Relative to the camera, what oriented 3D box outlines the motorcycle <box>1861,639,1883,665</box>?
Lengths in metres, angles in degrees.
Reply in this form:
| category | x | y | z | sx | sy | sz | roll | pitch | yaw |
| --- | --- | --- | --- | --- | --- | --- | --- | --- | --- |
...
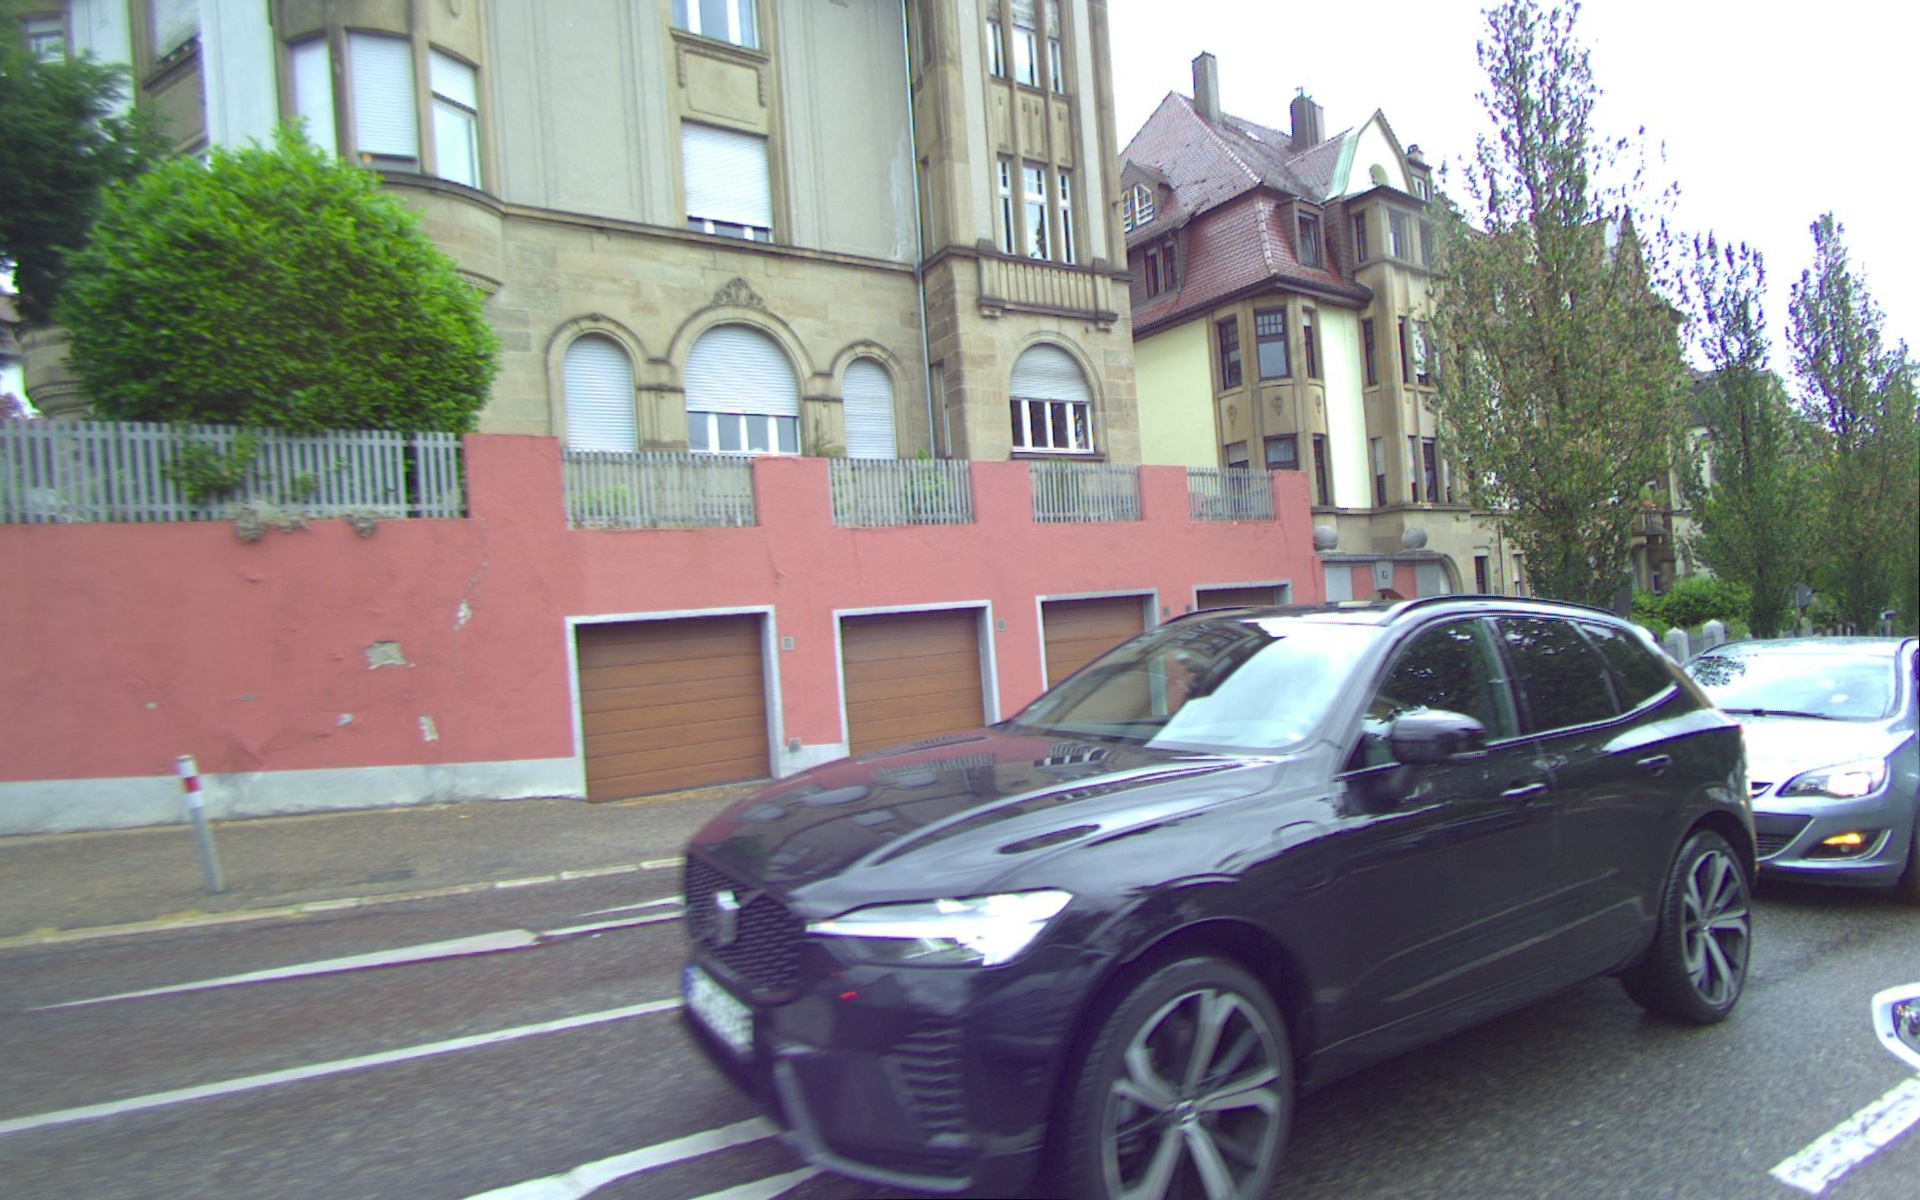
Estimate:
| category | x | y | z | sx | sy | sz | roll | pitch | yaw |
| --- | --- | --- | --- | --- | --- | --- | --- | --- | --- |
| motorcycle | 46.041 | 2.626 | 50.691 | 1.631 | 1.253 | 0.555 | 2 | -5 | -40 |

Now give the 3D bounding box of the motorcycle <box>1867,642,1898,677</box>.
| category | x | y | z | sx | sy | sz | roll | pitch | yaw |
| --- | --- | --- | --- | --- | --- | --- | --- | --- | --- |
| motorcycle | 31.398 | 2.009 | 34.199 | 0.645 | 1.136 | 2.145 | -1 | -2 | 39 |

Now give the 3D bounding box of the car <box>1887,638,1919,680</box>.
| category | x | y | z | sx | sy | sz | roll | pitch | yaw |
| --- | --- | --- | --- | --- | --- | --- | --- | --- | --- |
| car | 40.633 | 2.443 | 42.505 | 4.169 | 1.672 | 1.771 | 2 | -7 | -45 |

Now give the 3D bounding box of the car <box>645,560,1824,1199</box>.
| category | x | y | z | sx | sy | sz | roll | pitch | yaw |
| --- | --- | --- | --- | --- | --- | --- | --- | --- | --- |
| car | 1.314 | 0.795 | 3.889 | 4.537 | 1.595 | 1.865 | 1 | -3 | -33 |

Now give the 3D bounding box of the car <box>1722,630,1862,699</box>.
| category | x | y | z | sx | sy | sz | roll | pitch | yaw |
| --- | --- | --- | --- | --- | --- | --- | --- | --- | --- |
| car | 21.328 | 1.617 | 25.720 | 3.961 | 1.633 | 1.803 | 2 | -2 | -35 |

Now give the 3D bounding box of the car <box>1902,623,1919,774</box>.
| category | x | y | z | sx | sy | sz | roll | pitch | yaw |
| --- | --- | --- | --- | --- | --- | --- | --- | --- | --- |
| car | 12.150 | 1.039 | 11.110 | 3.958 | 1.589 | 1.645 | 1 | -3 | -34 |

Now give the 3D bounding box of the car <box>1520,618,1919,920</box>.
| category | x | y | z | sx | sy | sz | roll | pitch | yaw |
| --- | --- | --- | --- | --- | --- | --- | --- | --- | --- |
| car | 5.897 | 0.930 | 6.993 | 4.219 | 1.517 | 1.763 | 1 | -3 | -34 |
